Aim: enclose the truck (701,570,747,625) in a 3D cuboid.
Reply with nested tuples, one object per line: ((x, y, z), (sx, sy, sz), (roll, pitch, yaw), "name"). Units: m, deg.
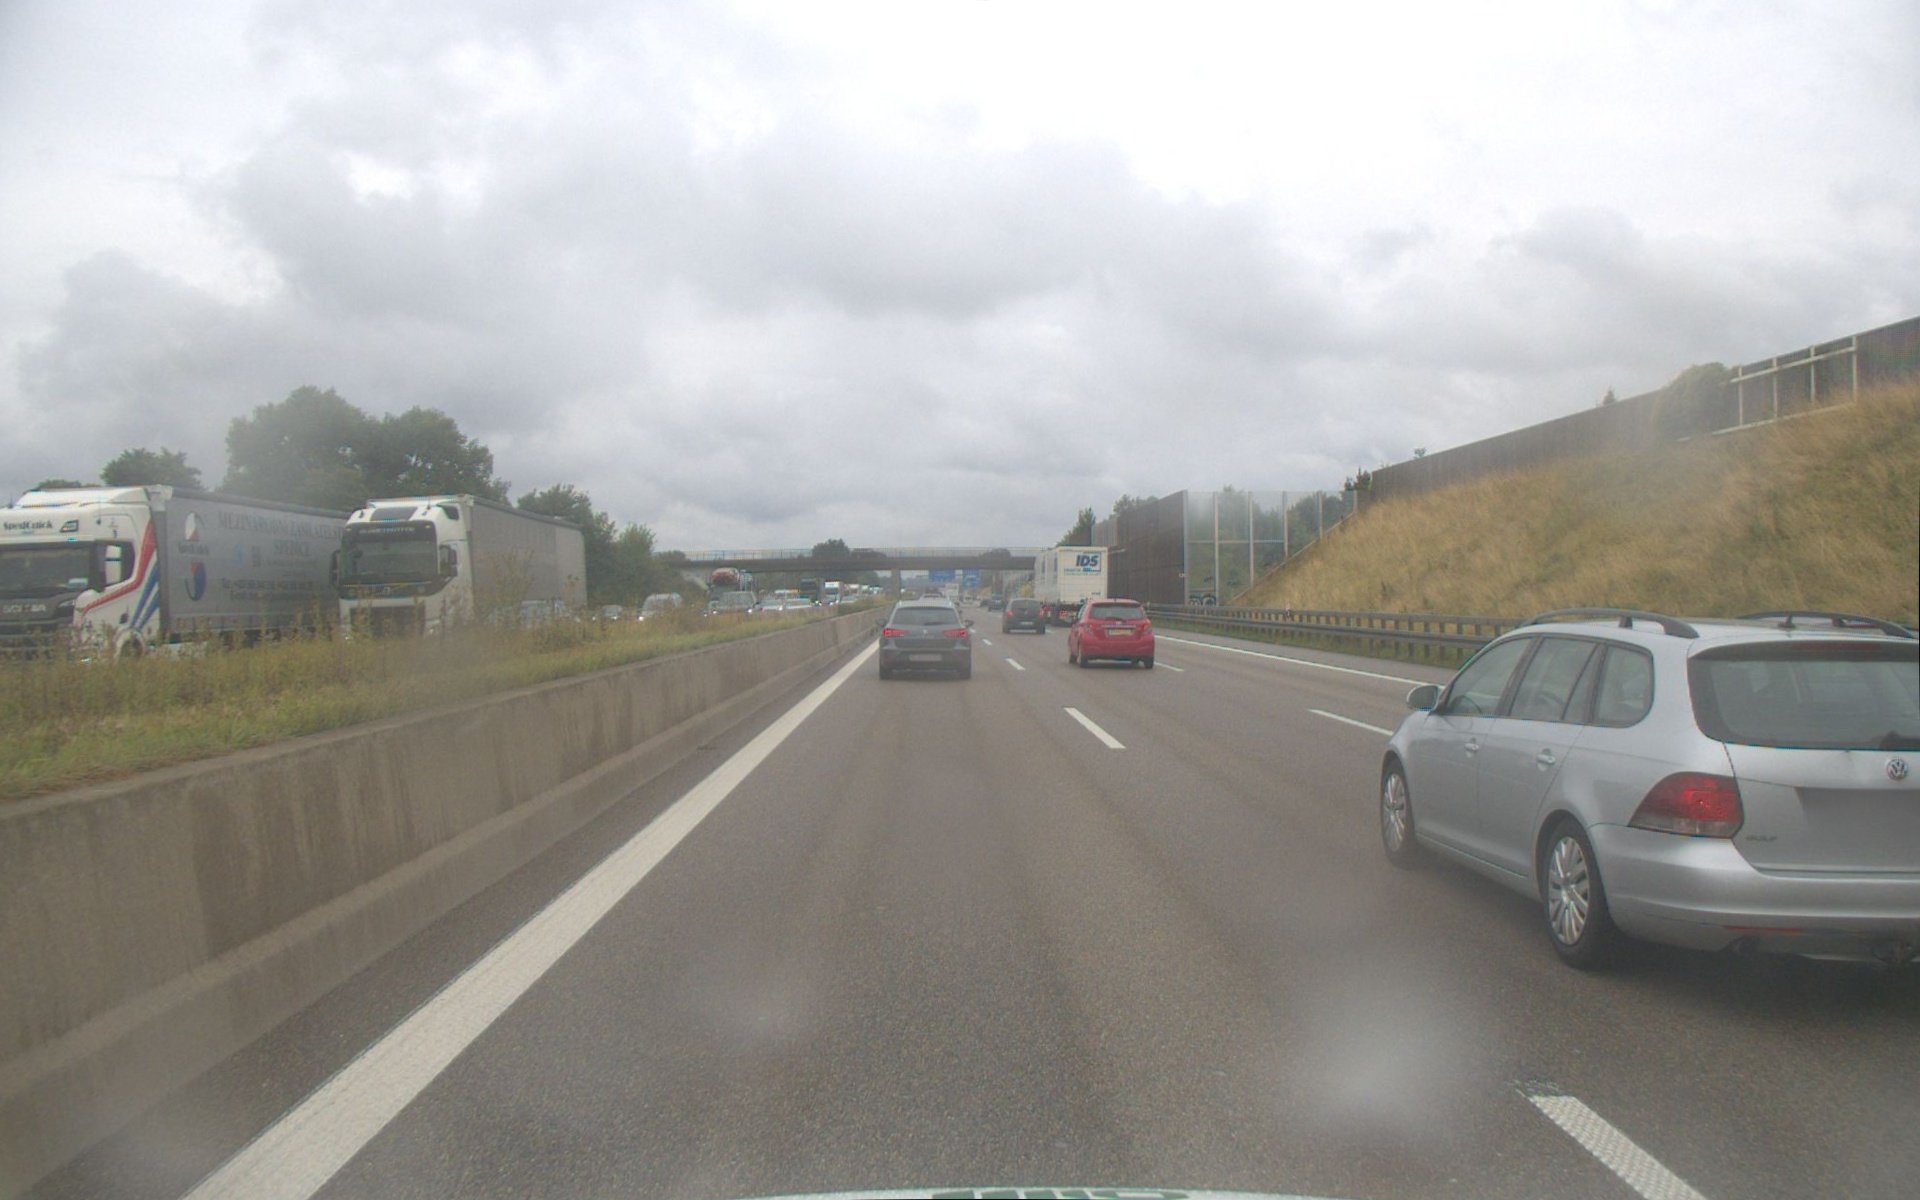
((-19.223, -0.163, 134.954), (2.897, 4.316, 6.233), (1, 0, -1), "truck")

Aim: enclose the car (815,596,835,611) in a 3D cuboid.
((-16.338, 0.395, 200.427), (2.051, 1.740, 4.800), (0, 0, 0), "car")

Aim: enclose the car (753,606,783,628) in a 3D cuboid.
((-15.728, 1.362, 135.519), (2.051, 1.740, 5.163), (0, 0, -2), "car")

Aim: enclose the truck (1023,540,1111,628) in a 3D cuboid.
((5.739, -0.761, 92.463), (3.217, 4.370, 19.027), (1, 0, -1), "truck")

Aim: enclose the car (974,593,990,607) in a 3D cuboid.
((2.971, -0.016, 225.762), (1.953, 1.843, 4.227), (-2, 0, -1), "car")

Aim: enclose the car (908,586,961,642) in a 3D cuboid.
((-0.911, 0.467, 58.296), (1.789, 1.882, 3.999), (-1, 0, -1), "car")

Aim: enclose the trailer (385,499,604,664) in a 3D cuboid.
((-13.216, -0.440, 48.443), (3.023, 4.160, 12.327), (1, 0, -1), "trailer")

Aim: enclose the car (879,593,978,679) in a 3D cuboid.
((-0.616, 0.655, 31.459), (1.733, 1.493, 3.999), (1, 0, -2), "car")

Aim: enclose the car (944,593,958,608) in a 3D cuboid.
((-1.298, 0.041, 235.546), (1.953, 2.049, 4.240), (1, 0, -1), "car")

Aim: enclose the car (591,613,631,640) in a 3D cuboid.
((-22.053, 1.661, 104.687), (1.847, 1.623, 3.998), (1, 0, -3), "car")

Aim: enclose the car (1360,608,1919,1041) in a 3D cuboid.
((3.383, 0.785, 7.999), (1.706, 1.450, 4.515), (-1, 0, -1), "car")

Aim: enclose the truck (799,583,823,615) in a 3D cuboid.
((-19.837, -0.132, 220.060), (2.701, 4.121, 6.253), (1, 0, -1), "truck")

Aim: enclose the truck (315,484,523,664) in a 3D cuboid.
((-13.141, -0.563, 40.799), (3.029, 4.045, 6.370), (1, 0, -1), "truck")

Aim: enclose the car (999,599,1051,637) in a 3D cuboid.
((2.713, 0.724, 69.778), (1.882, 1.548, 4.621), (0, 0, -2), "car")

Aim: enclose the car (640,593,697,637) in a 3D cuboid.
((-13.589, 0.654, 77.317), (1.845, 1.958, 5.276), (-1, 0, -1), "car")

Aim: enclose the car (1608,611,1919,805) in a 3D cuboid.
((7.214, 0.827, 14.240), (1.668, 1.426, 3.874), (1, 0, -2), "car")

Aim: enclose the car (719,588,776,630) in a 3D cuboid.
((-9.497, 0.370, 74.309), (1.953, 1.795, 5.070), (-1, 0, -1), "car")

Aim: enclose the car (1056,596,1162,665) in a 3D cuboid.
((3.333, 0.639, 37.838), (1.853, 1.472, 4.683), (0, 0, -2), "car")

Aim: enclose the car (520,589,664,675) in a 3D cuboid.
((-7.849, 0.633, 35.731), (2.051, 1.740, 4.800), (0, 0, 0), "car")

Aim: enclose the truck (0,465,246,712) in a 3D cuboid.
((-17.679, -0.204, 33.020), (3.542, 4.349, 7.589), (1, 0, -1), "truck")

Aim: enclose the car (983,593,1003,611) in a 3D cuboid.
((3.306, 0.222, 165.613), (1.808, 1.716, 3.998), (1, 0, -2), "car")

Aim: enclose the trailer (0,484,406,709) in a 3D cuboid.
((-17.850, -0.032, 40.188), (3.637, 4.346, 15.620), (1, 0, -1), "trailer")
